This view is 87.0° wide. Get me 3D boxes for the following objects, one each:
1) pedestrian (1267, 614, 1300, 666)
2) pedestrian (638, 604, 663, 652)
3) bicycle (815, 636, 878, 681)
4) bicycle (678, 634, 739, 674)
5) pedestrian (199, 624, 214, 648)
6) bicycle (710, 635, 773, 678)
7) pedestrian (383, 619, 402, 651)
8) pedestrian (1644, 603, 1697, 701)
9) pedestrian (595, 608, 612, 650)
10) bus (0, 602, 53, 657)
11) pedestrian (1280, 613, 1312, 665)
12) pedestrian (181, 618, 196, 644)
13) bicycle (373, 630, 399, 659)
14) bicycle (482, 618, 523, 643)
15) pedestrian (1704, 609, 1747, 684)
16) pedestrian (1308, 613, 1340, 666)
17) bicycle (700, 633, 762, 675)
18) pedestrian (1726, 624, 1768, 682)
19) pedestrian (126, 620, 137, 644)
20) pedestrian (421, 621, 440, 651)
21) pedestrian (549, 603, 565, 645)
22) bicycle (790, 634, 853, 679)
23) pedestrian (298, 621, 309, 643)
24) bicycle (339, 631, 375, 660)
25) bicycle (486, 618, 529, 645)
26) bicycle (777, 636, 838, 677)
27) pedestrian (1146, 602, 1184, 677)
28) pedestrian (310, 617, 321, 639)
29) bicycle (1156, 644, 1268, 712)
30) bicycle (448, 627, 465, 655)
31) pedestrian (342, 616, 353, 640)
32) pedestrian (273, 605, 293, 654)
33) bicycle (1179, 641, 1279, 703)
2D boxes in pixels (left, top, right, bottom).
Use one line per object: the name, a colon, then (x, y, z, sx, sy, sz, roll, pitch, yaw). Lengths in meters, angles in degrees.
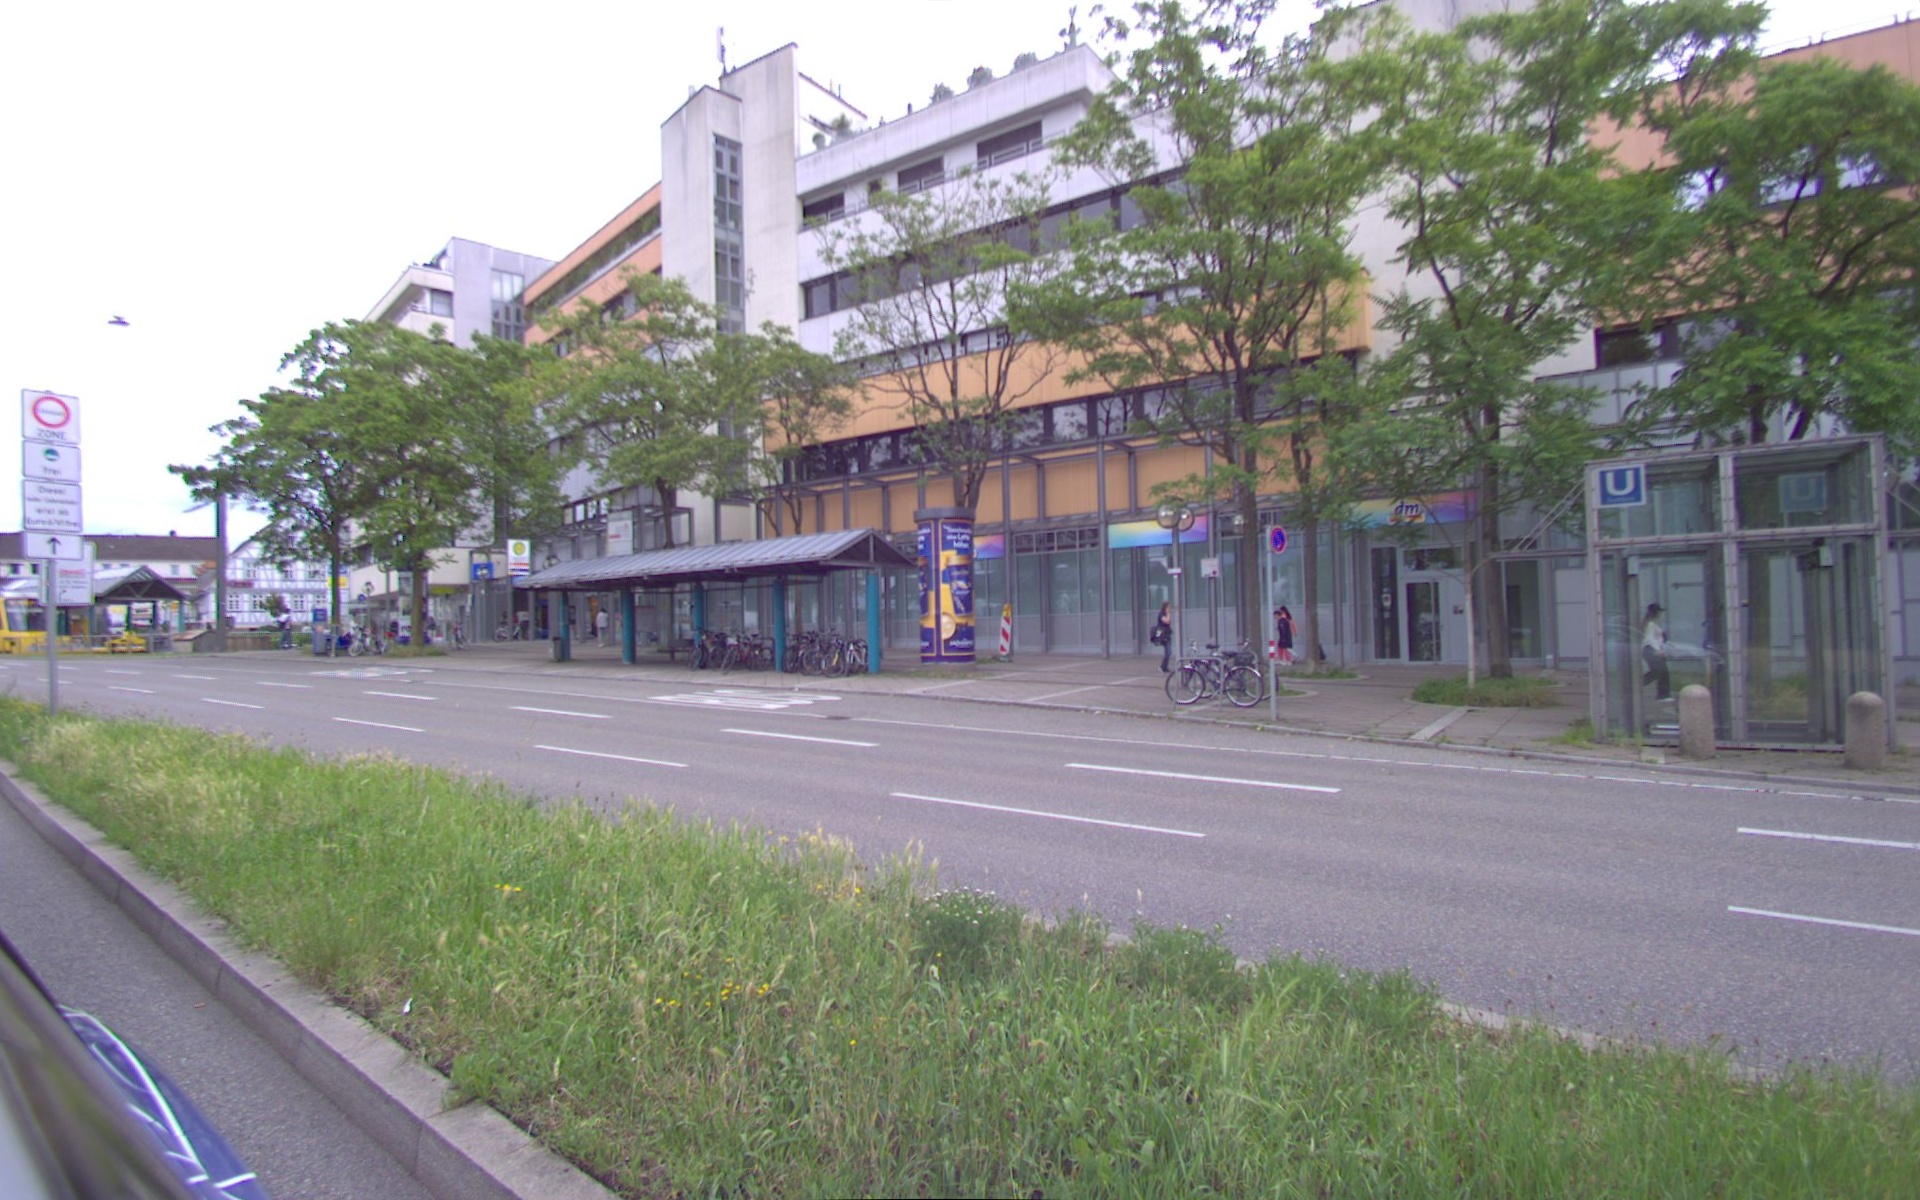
pedestrian: (8.731, 1.076, 27.325, 0.694, 1.385, 0.578, -1, -2, 34)
pedestrian: (-13.336, 1.215, 43.614, 0.792, 2.029, 0.702, -1, 0, 35)
bicycle: (-2.910, 1.478, 26.063, 0.549, 1.048, 1.714, -2, 0, 38)
bicycle: (-7.239, 1.539, 29.152, 0.549, 1.048, 1.714, -2, 0, 38)
pedestrian: (-50.060, 2.398, 67.244, 0.581, 1.554, 0.570, -1, -2, 32)
bicycle: (-5.966, 1.534, 27.725, 0.549, 1.048, 1.714, -2, 1, 38)
pedestrian: (-33.602, 2.058, 59.968, 0.752, 1.859, 0.755, -1, -2, 41)
pedestrian: (12.474, 0.895, 17.761, 0.721, 1.662, 0.669, -1, -1, 37)
pedestrian: (-15.479, 1.247, 43.910, 0.639, 1.823, 0.761, 0, -2, -16)
bus: (-55.987, 1.688, 58.618, 8.470, 3.006, 2.530, -1, -2, 29)
pedestrian: (9.247, 1.069, 27.858, 0.694, 1.385, 0.578, -1, -2, 34)
pedestrian: (-62.442, 2.504, 81.883, 0.867, 2.029, 1.010, 1, -2, -44)
bicycle: (-22.752, 1.758, 40.112, 0.584, 1.085, 2.044, 0, -1, -21)
bicycle: (-26.102, 1.742, 57.769, 2.106, 1.377, 0.621, -1, 0, -24)
pedestrian: (15.718, 0.943, 20.785, 0.620, 1.515, 0.563, -1, -2, 31)
pedestrian: (9.819, 1.062, 27.301, 0.694, 1.385, 0.578, -1, -2, 34)
bicycle: (-6.460, 1.516, 28.587, 0.549, 1.048, 1.714, -2, 1, 38)
pedestrian: (16.336, 1.091, 21.024, 0.620, 1.190, 0.418, -1, -2, 31)
pedestrian: (-70.677, 2.720, 86.360, 0.731, 2.029, 0.940, 1, -2, -39)
pedestrian: (-29.920, 2.034, 57.199, 0.752, 1.695, 0.755, -1, -2, 41)
pedestrian: (-19.555, 1.156, 49.104, 0.558, 2.029, 0.611, 1, -2, -44)
bicycle: (-3.619, 1.462, 26.596, 0.549, 1.048, 1.714, -2, 0, 38)
pedestrian: (-44.011, 2.151, 67.820, 0.548, 1.506, 0.454, 1, -2, -41)
bicycle: (-23.619, 1.770, 39.654, 0.585, 1.085, 2.042, 0, -1, -12)
bicycle: (-24.953, 1.731, 55.791, 2.107, 1.385, 0.621, -1, 0, -31)
bicycle: (-4.143, 1.519, 27.563, 0.549, 1.048, 1.714, -2, -1, 38)
pedestrian: (5.014, 0.958, 24.732, 0.769, 1.800, 0.525, -1, -2, 33)
pedestrian: (-43.444, 1.905, 68.266, 0.548, 1.506, 0.454, 1, -2, -41)
bicycle: (4.362, 1.328, 17.601, 0.802, 1.068, 1.739, 0, -1, -40)
bicycle: (-21.357, 1.712, 42.932, 0.584, 1.134, 2.044, 1, -1, -26)
pedestrian: (-30.940, 1.397, 51.100, 0.368, 1.188, 0.338, -1, -2, 31)
pedestrian: (-31.919, 1.392, 47.722, 0.608, 2.325, 0.583, -1, -2, 39)
bicycle: (4.979, 1.317, 18.793, 1.737, 1.074, 0.542, -2, -1, 45)
